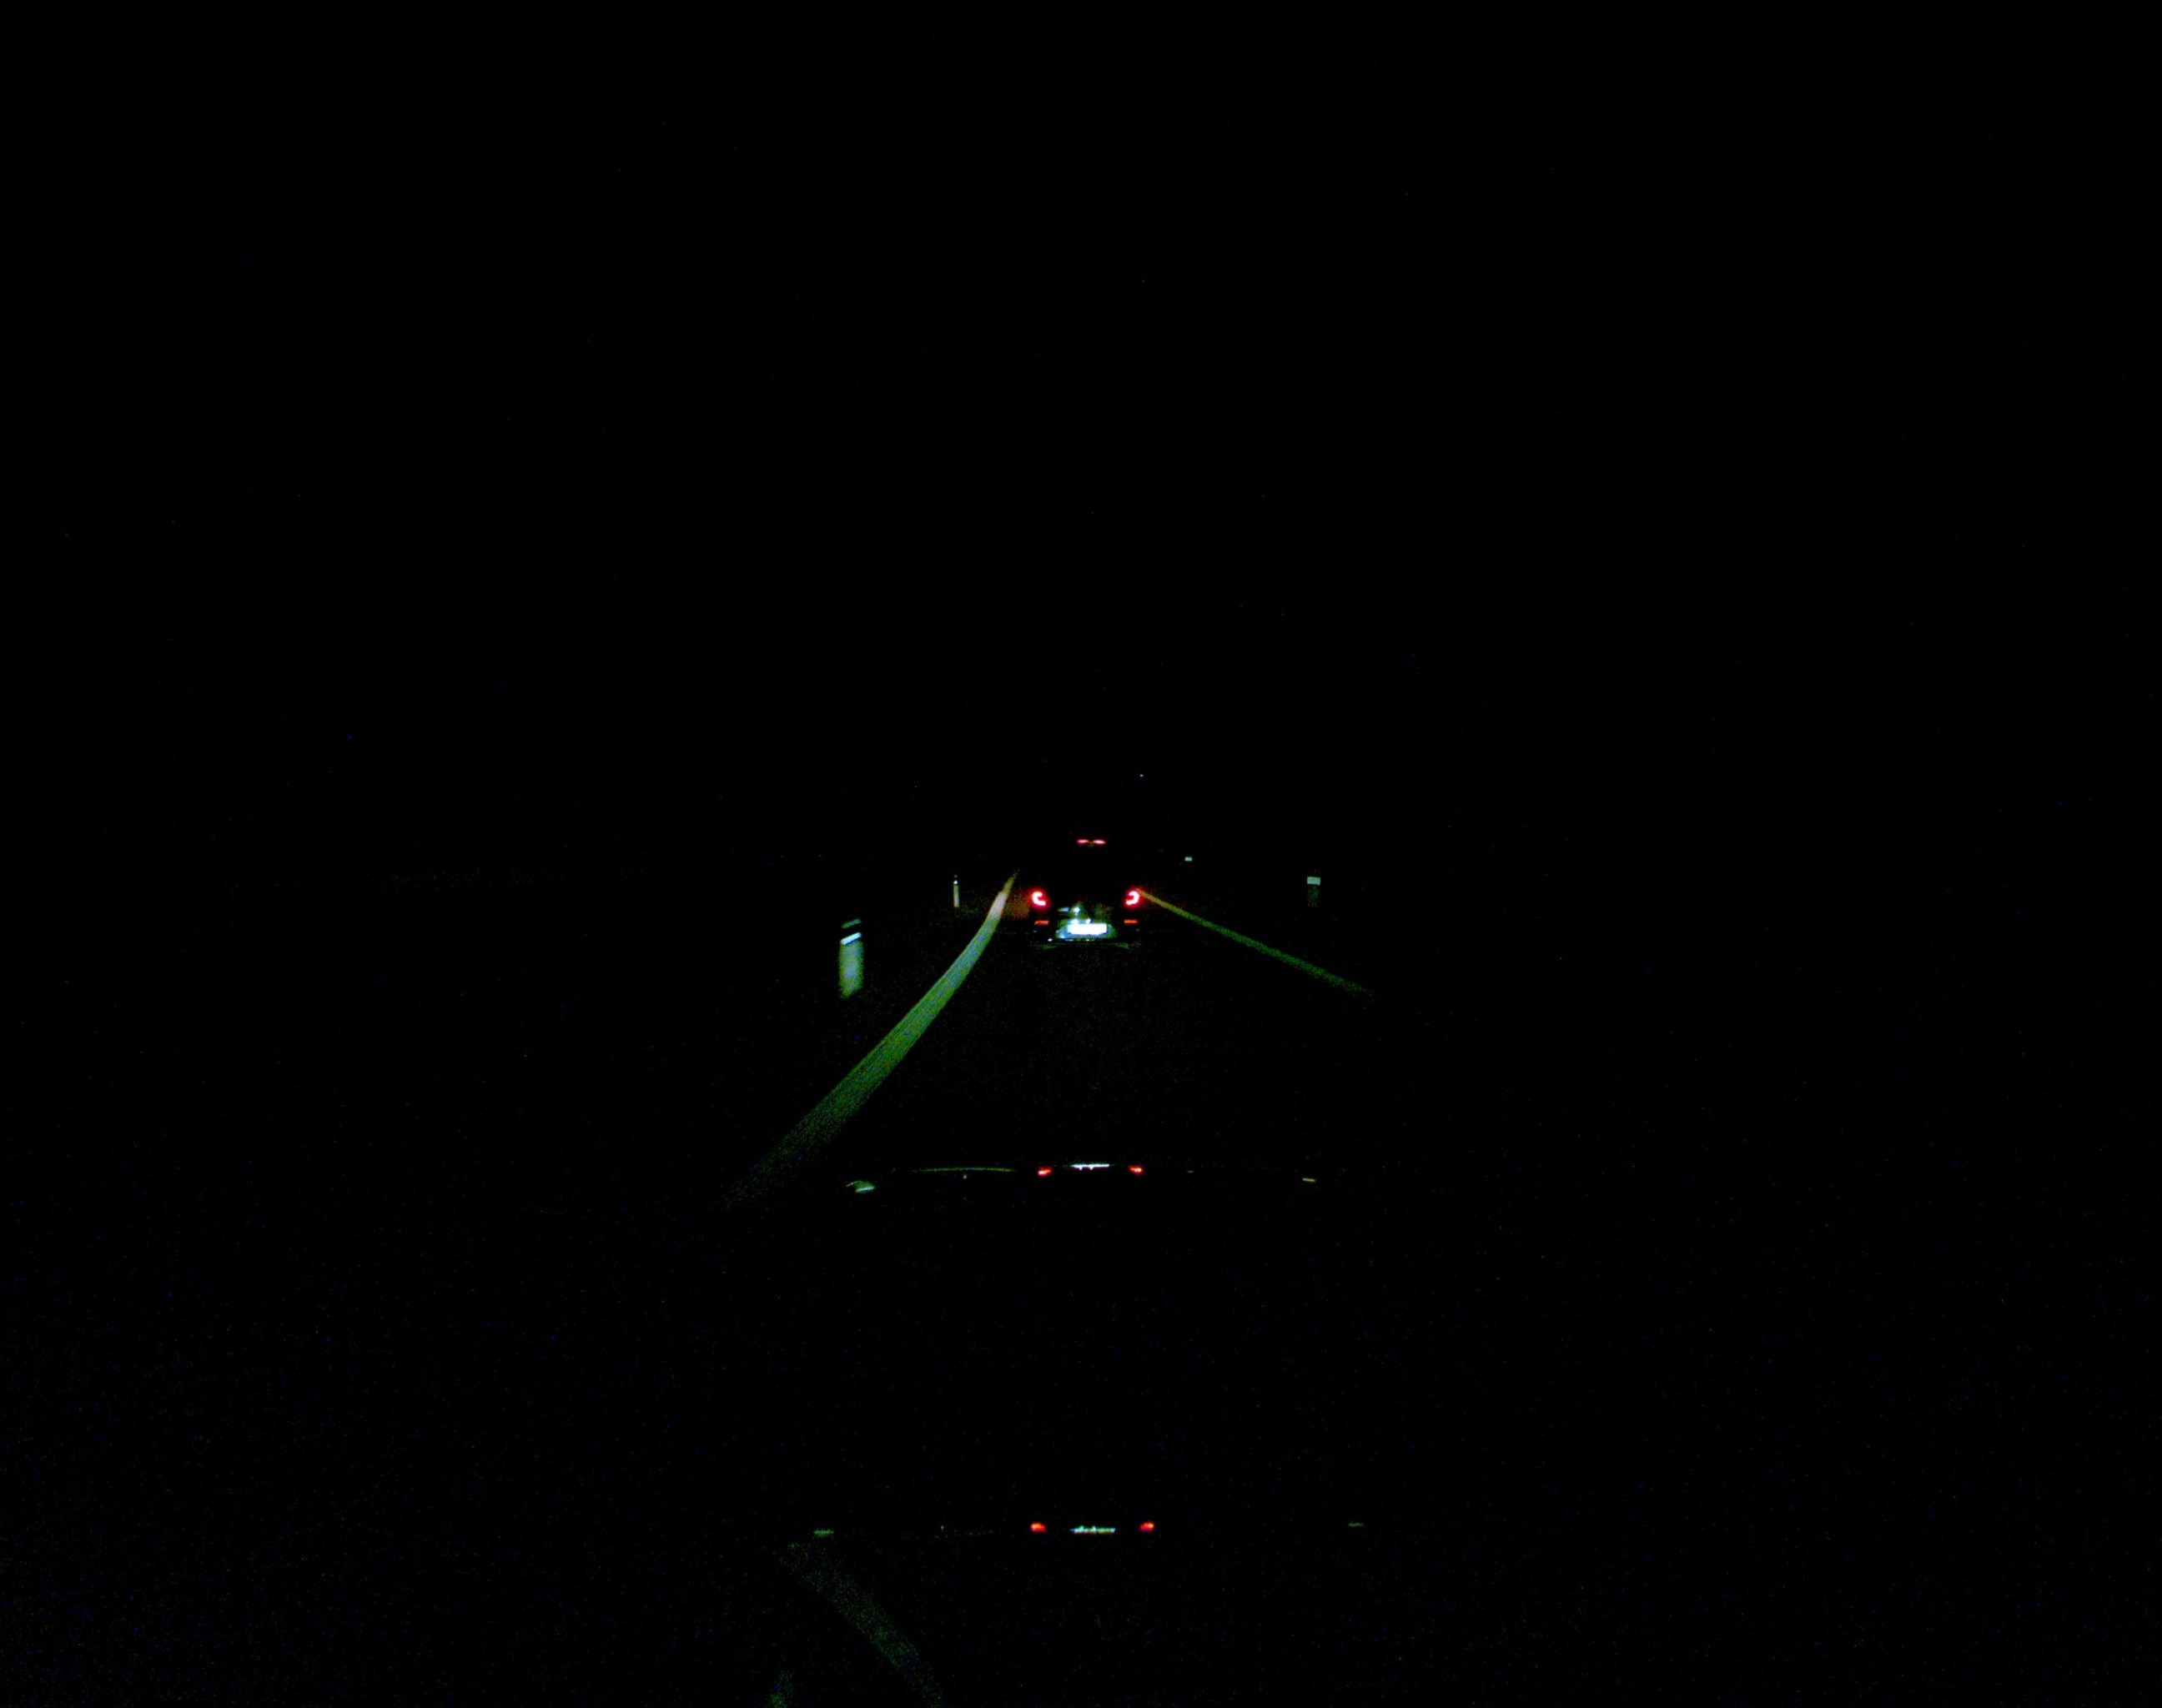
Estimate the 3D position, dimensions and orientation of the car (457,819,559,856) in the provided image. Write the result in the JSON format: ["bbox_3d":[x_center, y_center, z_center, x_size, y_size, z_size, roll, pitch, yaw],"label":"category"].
[{"bbox_3d":[-30.118,-0.883,42.964,1.795,1.886,4.022,0,2,23],"label":"car"}]

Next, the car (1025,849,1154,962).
[{"bbox_3d":[0.173,0.677,12.917,1.685,1.477,4.002,-2,0,2],"label":"car"}]

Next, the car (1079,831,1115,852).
[{"bbox_3d":[1.270,-0.960,62.543,1.938,1.538,4.256,-2,0,13],"label":"car"}]
